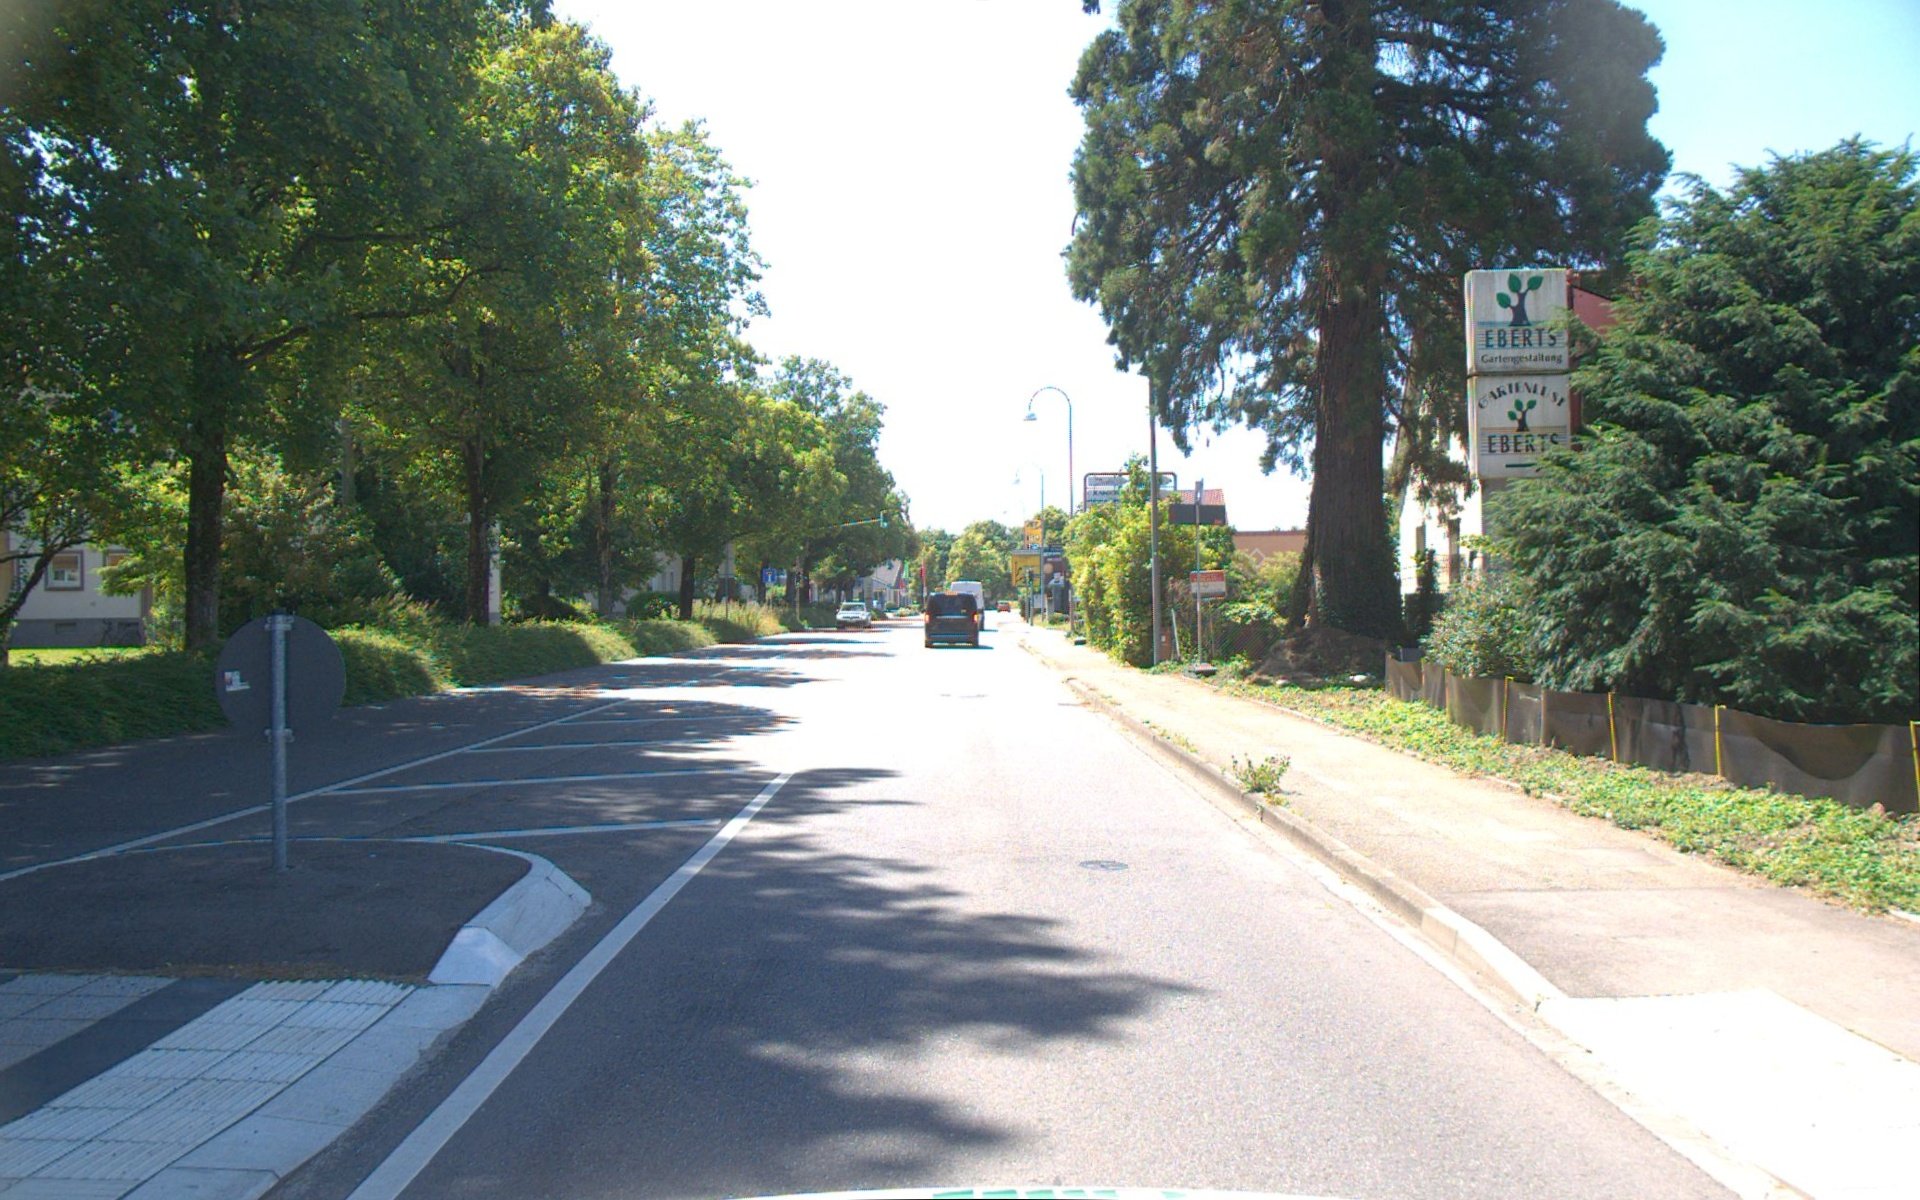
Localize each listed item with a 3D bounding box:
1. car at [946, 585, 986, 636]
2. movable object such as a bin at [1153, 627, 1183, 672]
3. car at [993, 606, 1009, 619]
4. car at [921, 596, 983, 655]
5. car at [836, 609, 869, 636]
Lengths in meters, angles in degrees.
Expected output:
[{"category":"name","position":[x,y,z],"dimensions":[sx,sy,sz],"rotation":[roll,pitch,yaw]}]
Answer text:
[{"category":"car","position":[0.363,0.534,90.886],"dimensions":[2.076,2.724,5.663],"rotation":[0,0,1]},{"category":"movable object such as a bin","position":[4.465,1.064,35.516],"dimensions":[0.462,0.944,0.522],"rotation":[0,-1,33]},{"category":"car","position":[5.566,1.708,225.798],"dimensions":[1.821,1.672,3.997],"rotation":[0,0,-4]},{"category":"car","position":[-0.309,0.819,56.220],"dimensions":[1.953,1.926,3.998],"rotation":[0,0,-2]},{"category":"car","position":[-5.987,1.247,92.316],"dimensions":[1.687,1.452,4.146],"rotation":[0,-1,-2]}]
